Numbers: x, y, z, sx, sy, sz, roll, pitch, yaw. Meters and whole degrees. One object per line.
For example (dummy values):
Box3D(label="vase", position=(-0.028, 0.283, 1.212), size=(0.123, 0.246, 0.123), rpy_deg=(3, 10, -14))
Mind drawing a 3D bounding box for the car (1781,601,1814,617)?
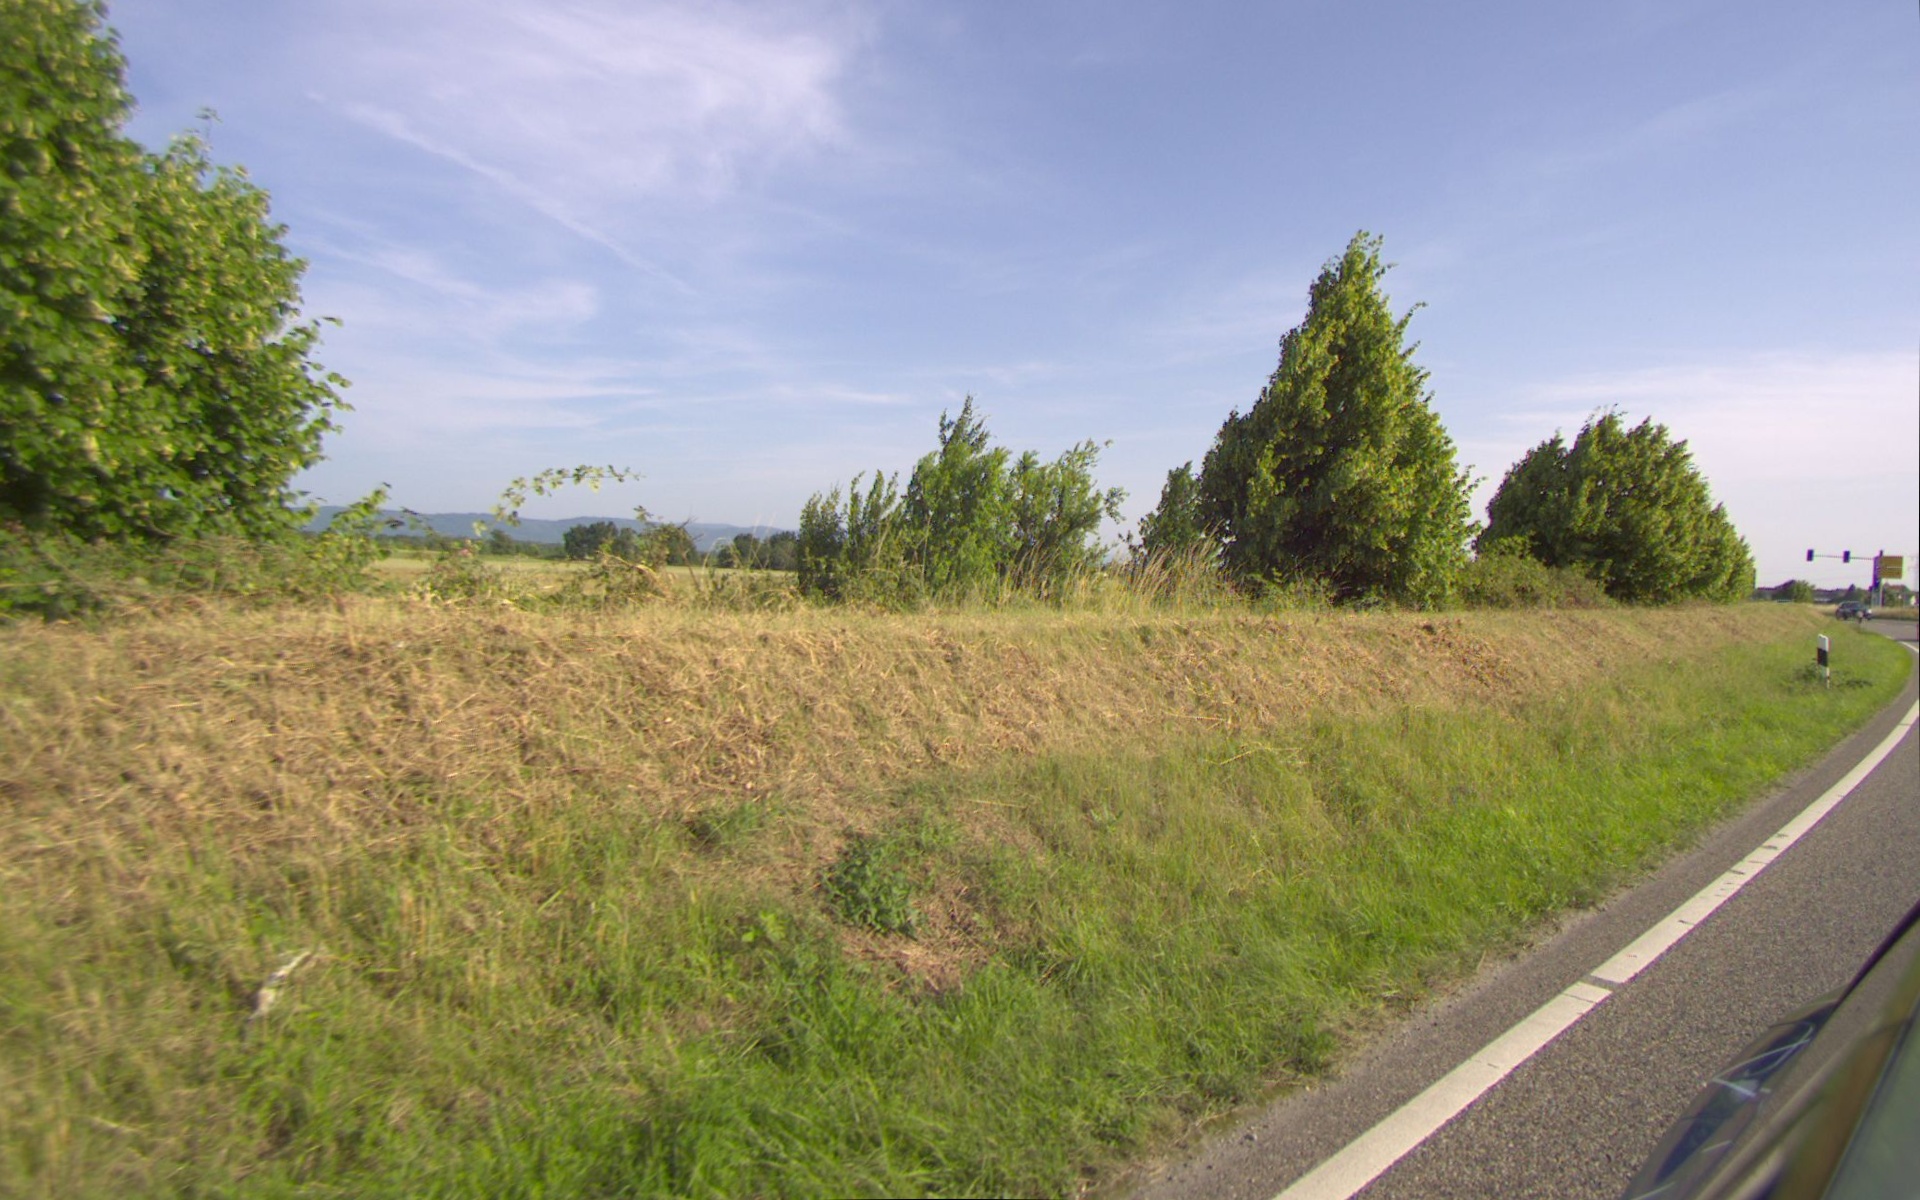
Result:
Box3D(label="car", position=(85.648, 0.885, 103.528), size=(1.816, 1.549, 3.960), rpy_deg=(1, 1, 29))

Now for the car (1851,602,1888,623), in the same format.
Box3D(label="car", position=(73.039, 0.993, 81.347), size=(1.742, 1.549, 3.949), rpy_deg=(1, 1, 35))
